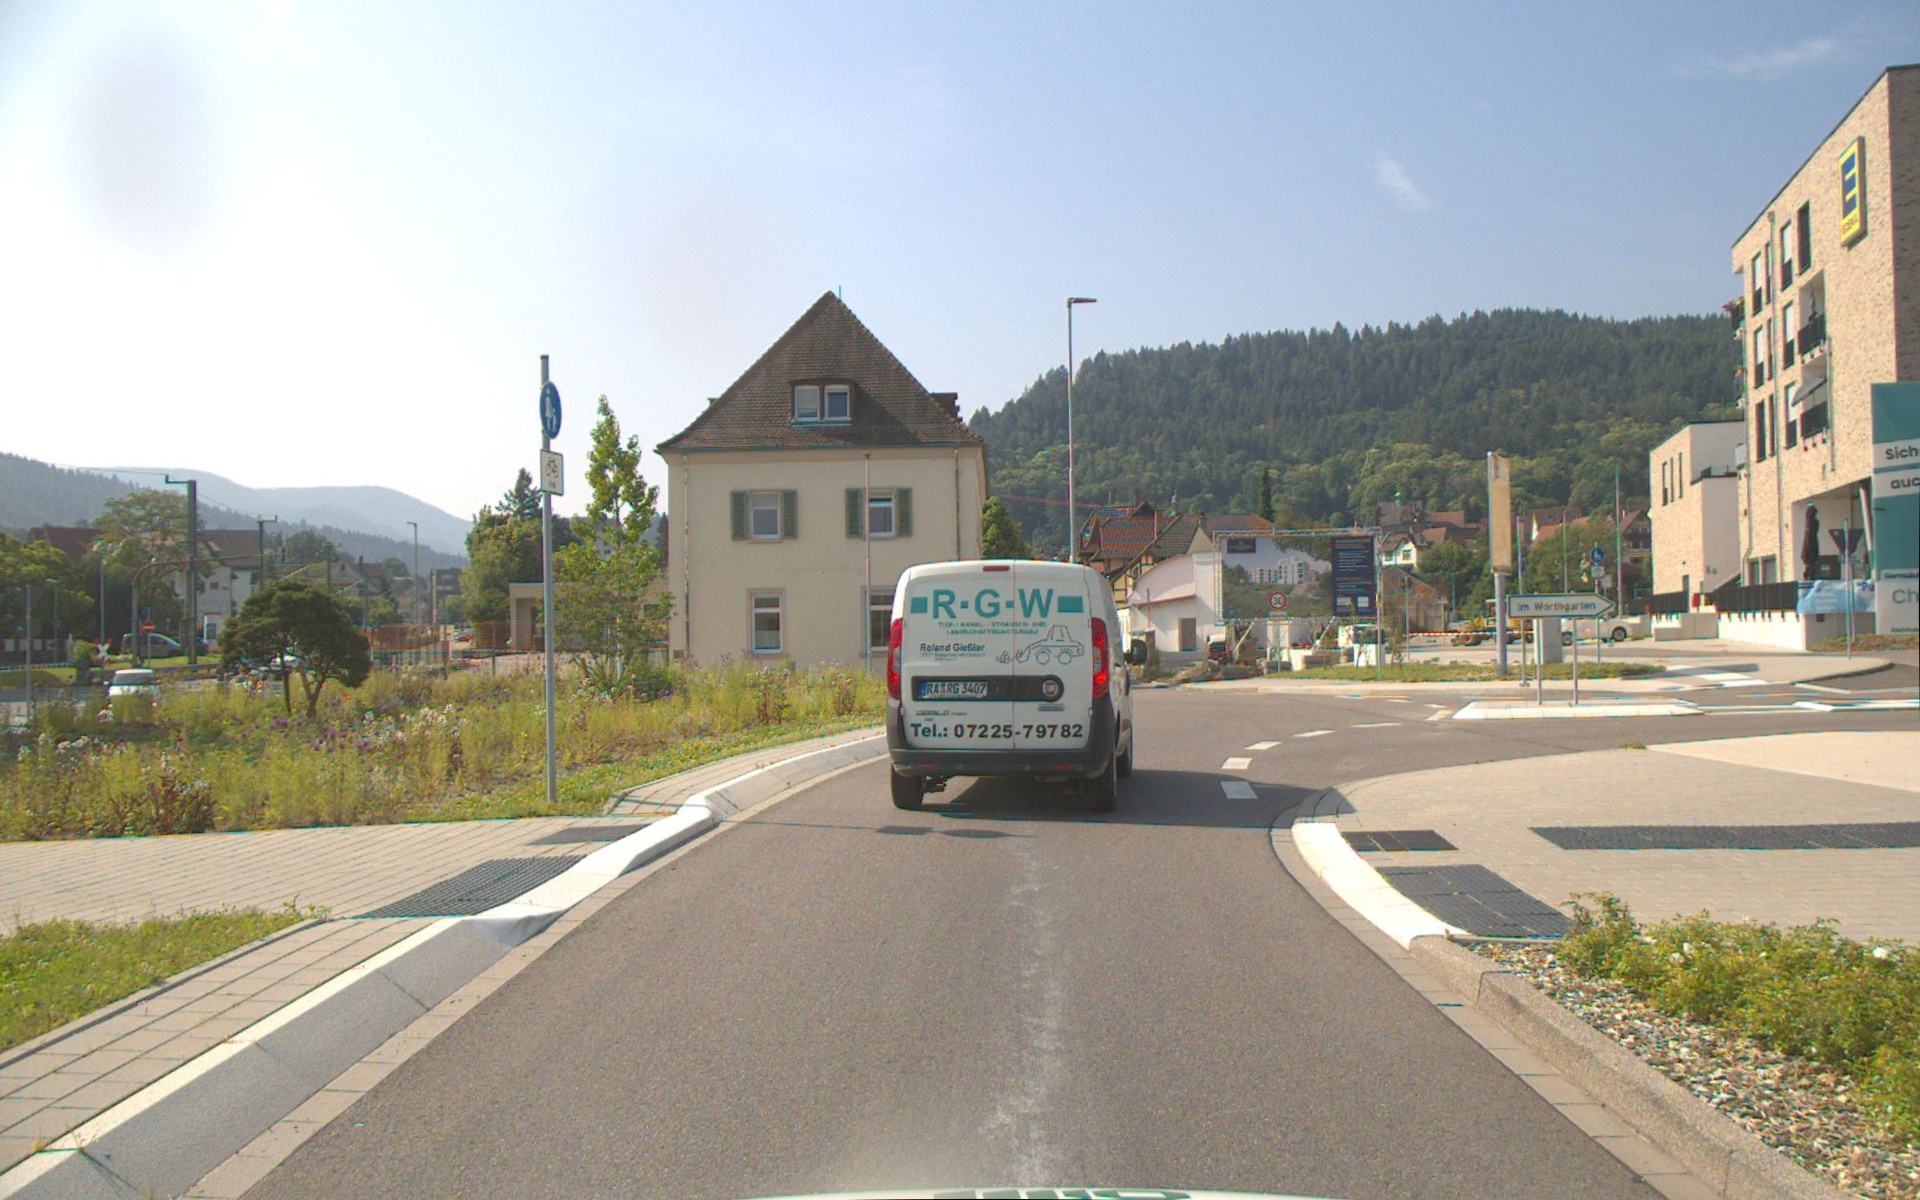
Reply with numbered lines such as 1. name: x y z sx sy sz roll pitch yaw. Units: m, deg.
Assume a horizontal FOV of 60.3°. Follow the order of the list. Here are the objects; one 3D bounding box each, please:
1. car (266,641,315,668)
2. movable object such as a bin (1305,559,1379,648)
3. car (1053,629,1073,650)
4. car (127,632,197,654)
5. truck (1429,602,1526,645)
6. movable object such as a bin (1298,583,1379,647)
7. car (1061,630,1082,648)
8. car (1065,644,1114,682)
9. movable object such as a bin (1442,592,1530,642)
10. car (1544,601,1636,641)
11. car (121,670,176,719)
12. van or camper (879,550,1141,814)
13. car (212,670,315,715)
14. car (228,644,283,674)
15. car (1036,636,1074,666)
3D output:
1. car: -39.436 3.178 97.523 1.676 1.422 3.993 1 0 -7
2. movable object such as a bin: 17.816 0.232 77.491 2.246 3.922 7.802 1 -1 5
3. car: 10.447 3.980 167.555 1.833 2.049 4.000 0 -1 0
4. car: -53.929 2.915 111.846 3.918 1.422 1.709 1 0 -13
5. truck: 31.257 1.434 99.851 5.211 2.305 2.216 -3 -2 27
6. movable object such as a bin: 22.975 0.915 100.185 2.801 3.685 5.715 1 0 35
7. car: 10.577 3.739 157.581 1.773 1.624 3.927 1 0 1
8. car: 6.095 2.943 78.132 1.774 1.624 3.924 1 0 -3
9. movable object such as a bin: 30.660 1.011 96.370 4.522 2.614 1.923 -3 -2 27
10. car: 27.304 0.926 71.726 3.335 1.521 1.594 -2 -3 0
11. car: -28.305 3.261 57.739 1.650 1.558 3.966 -1 -1 -26
12. van or camper: 0.573 0.649 13.955 1.789 1.877 4.191 -1 -2 7
13. car: -25.824 3.411 61.303 3.920 1.422 1.708 1 0 36
14. car: -38.139 3.185 89.637 1.676 1.422 3.993 1 0 -7
15. car: 5.563 2.986 97.031 1.774 1.624 3.924 1 0 -3
